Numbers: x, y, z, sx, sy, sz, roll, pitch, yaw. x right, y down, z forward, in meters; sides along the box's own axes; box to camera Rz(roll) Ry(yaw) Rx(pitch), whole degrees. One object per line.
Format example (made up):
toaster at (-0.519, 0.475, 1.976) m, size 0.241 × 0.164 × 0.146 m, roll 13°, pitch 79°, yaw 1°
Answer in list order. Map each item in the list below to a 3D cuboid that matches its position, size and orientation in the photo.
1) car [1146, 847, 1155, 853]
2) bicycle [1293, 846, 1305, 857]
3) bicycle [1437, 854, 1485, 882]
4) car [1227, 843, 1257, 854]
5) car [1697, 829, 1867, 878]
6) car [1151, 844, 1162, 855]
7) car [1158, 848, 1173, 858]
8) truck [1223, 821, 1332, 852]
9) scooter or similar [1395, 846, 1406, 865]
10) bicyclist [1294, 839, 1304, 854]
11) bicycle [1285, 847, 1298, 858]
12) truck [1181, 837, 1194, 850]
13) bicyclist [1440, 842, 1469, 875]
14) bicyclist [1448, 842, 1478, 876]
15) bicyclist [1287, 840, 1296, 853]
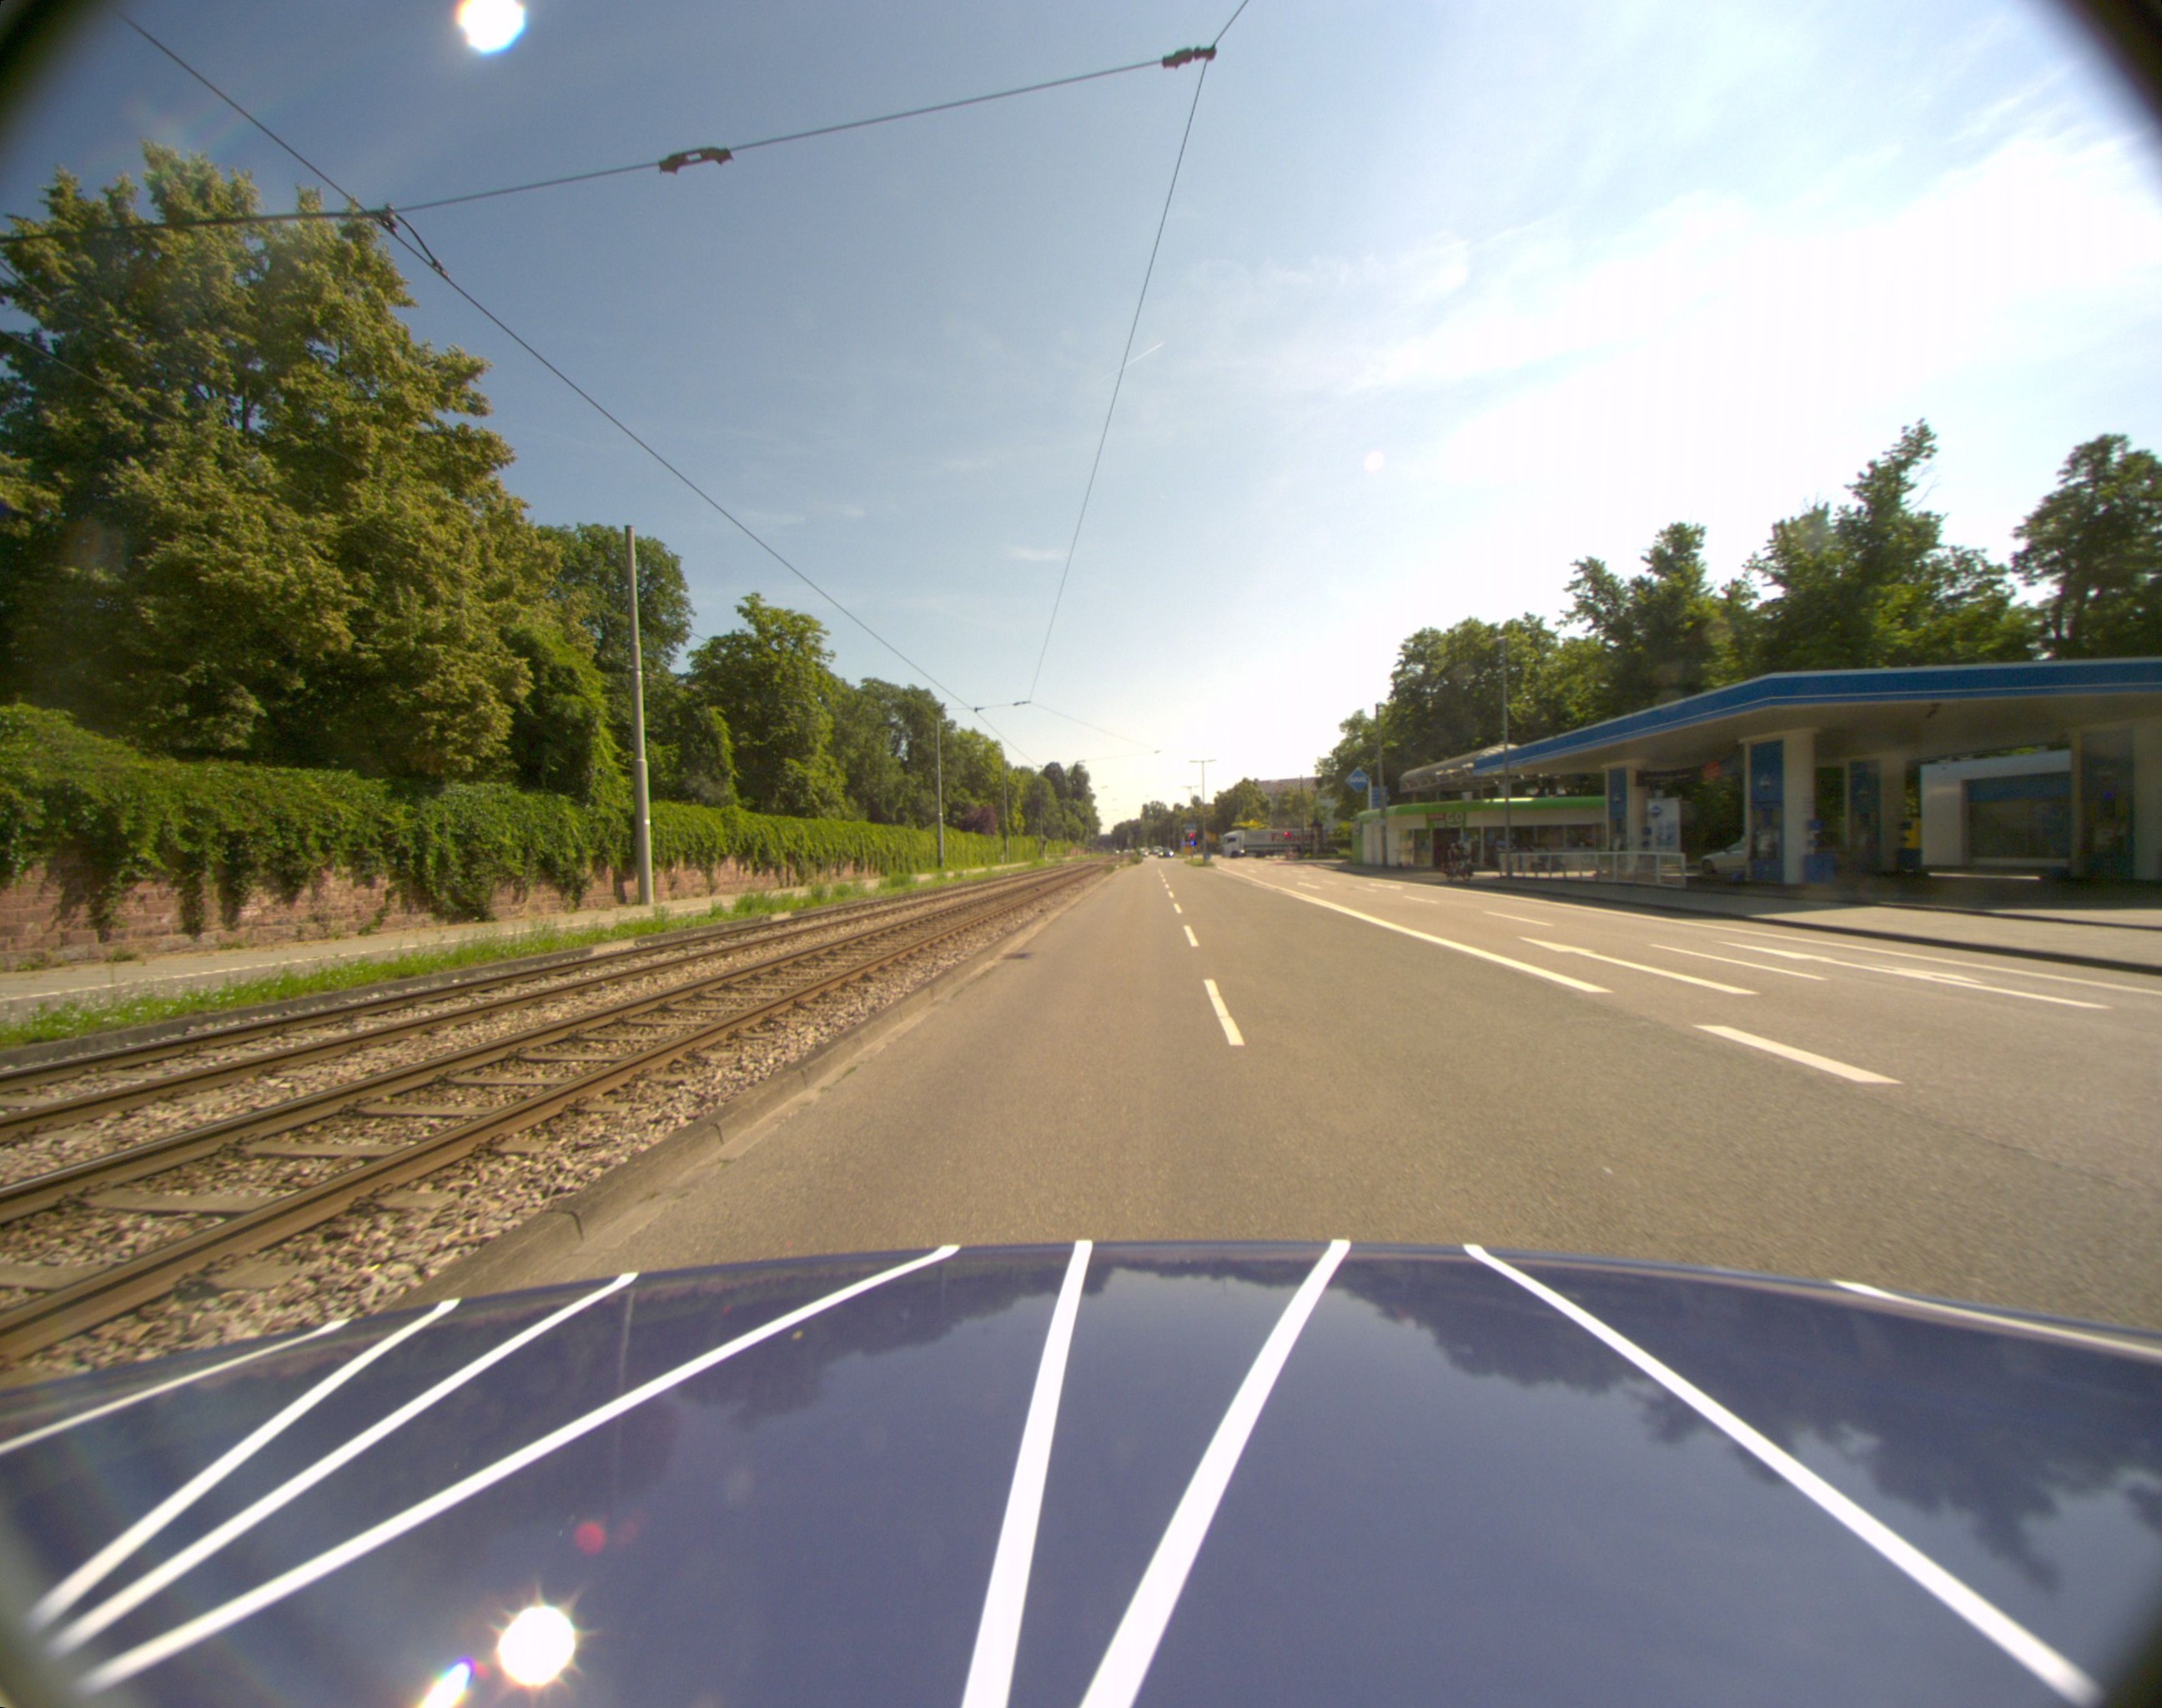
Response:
car at (17.934, -1.106, 196.325) m, size 1.930 × 1.593 × 4.468 m, roll -2°, pitch 1°, yaw 2°
bicycle at (23.770, -0.277, 83.024) m, size 0.939 × 1.168 × 2.212 m, roll -1°, pitch 1°, yaw 7°
bicycle at (16.528, 0.584, 33.143) m, size 0.827 × 1.088 × 2.773 m, roll -4°, pitch 0°, yaw 4°
car at (24.301, -0.808, 114.836) m, size 1.759 × 1.501 × 4.388 m, roll -1°, pitch -1°, yaw -31°
car at (28.371, -0.050, 31.113) m, size 1.848 × 1.771 × 5.966 m, roll -1°, pitch 1°, yaw 5°
car at (17.250, -1.090, 173.870) m, size 2.264 × 2.336 × 5.231 m, roll -2°, pitch 1°, yaw 3°
car at (13.255, -0.191, 119.439) m, size 1.755 × 1.573 × 4.505 m, roll -1°, pitch 0°, yaw 0°
truck at (26.957, -2.375, 104.909) m, size 14.286 × 3.984 × 2.855 m, roll -1°, pitch 1°, yaw 6°
scooter or similar at (20.698, 0.109, 49.220) m, size 0.442 × 1.230 × 1.347 m, roll -1°, pitch 1°, yaw 15°
bicyclist at (23.733, -0.800, 82.865) m, size 0.837 × 1.664 × 0.827 m, roll -2°, pitch 0°, yaw 5°
bicycle at (22.531, -0.169, 81.356) m, size 0.752 × 1.052 × 2.075 m, roll -1°, pitch 1°, yaw -3°
truck at (21.403, -2.093, 152.985) m, size 2.335 × 2.653 × 7.362 m, roll 0°, pitch 1°, yaw 6°
bicyclist at (16.620, 0.212, 33.830) m, size 0.849 × 1.427 × 0.833 m, roll -2°, pitch 0°, yaw 3°
bicyclist at (16.566, 0.220, 32.986) m, size 0.849 × 1.427 × 0.833 m, roll -2°, pitch -2°, yaw 4°
bicyclist at (22.487, -0.800, 81.166) m, size 0.710 × 1.412 × 0.739 m, roll -2°, pitch 0°, yaw -3°
